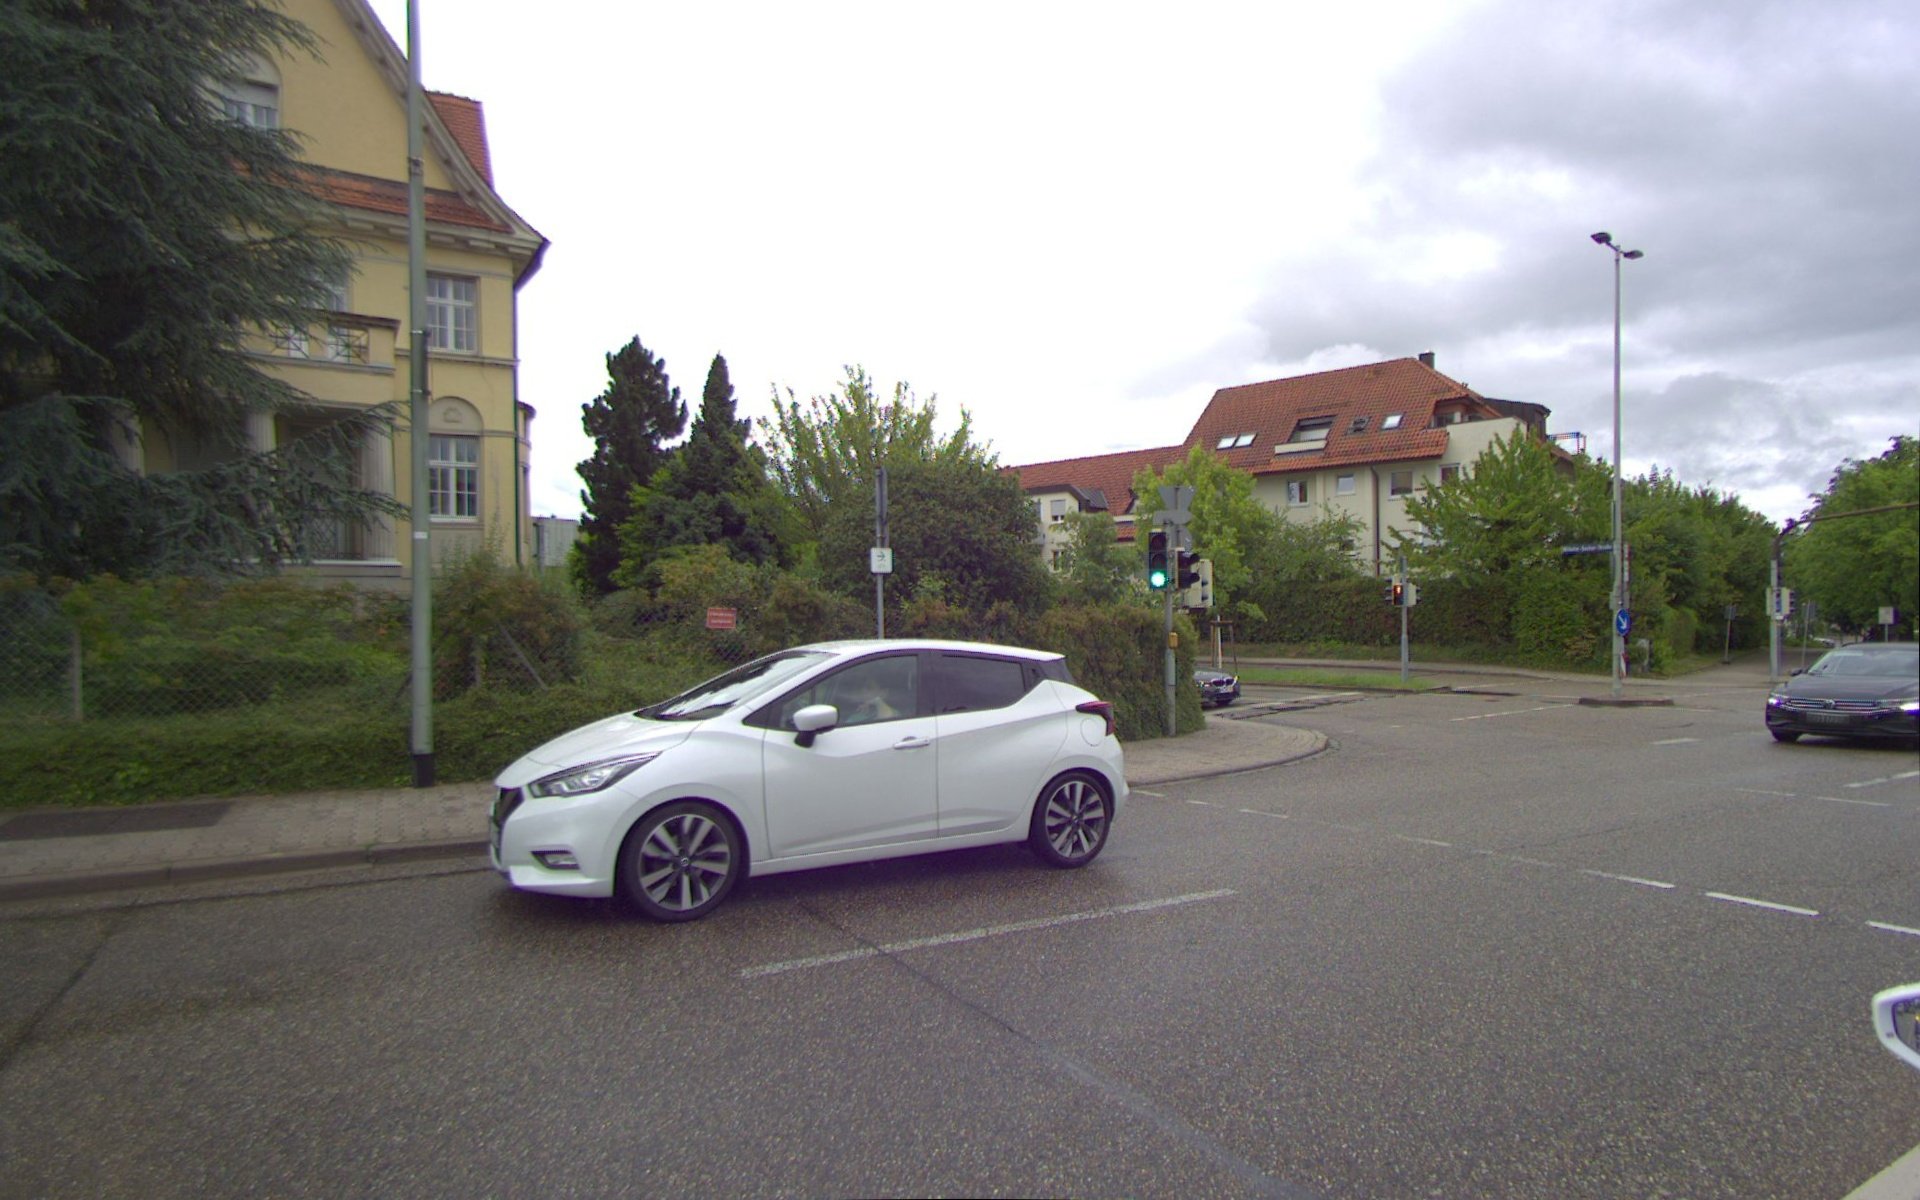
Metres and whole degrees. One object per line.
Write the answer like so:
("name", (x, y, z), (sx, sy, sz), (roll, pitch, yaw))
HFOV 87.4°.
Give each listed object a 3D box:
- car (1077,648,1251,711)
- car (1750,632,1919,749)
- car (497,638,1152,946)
("car", (5.189, 2.018, 26.121), (1.759, 1.411, 4.392), (-1, -2, -36))
("car", (13.884, 1.279, 15.030), (4.421, 1.521, 1.767), (2, -4, -31))
("car", (-0.788, 0.973, 6.387), (3.759, 1.415, 1.738), (2, -4, -31))
